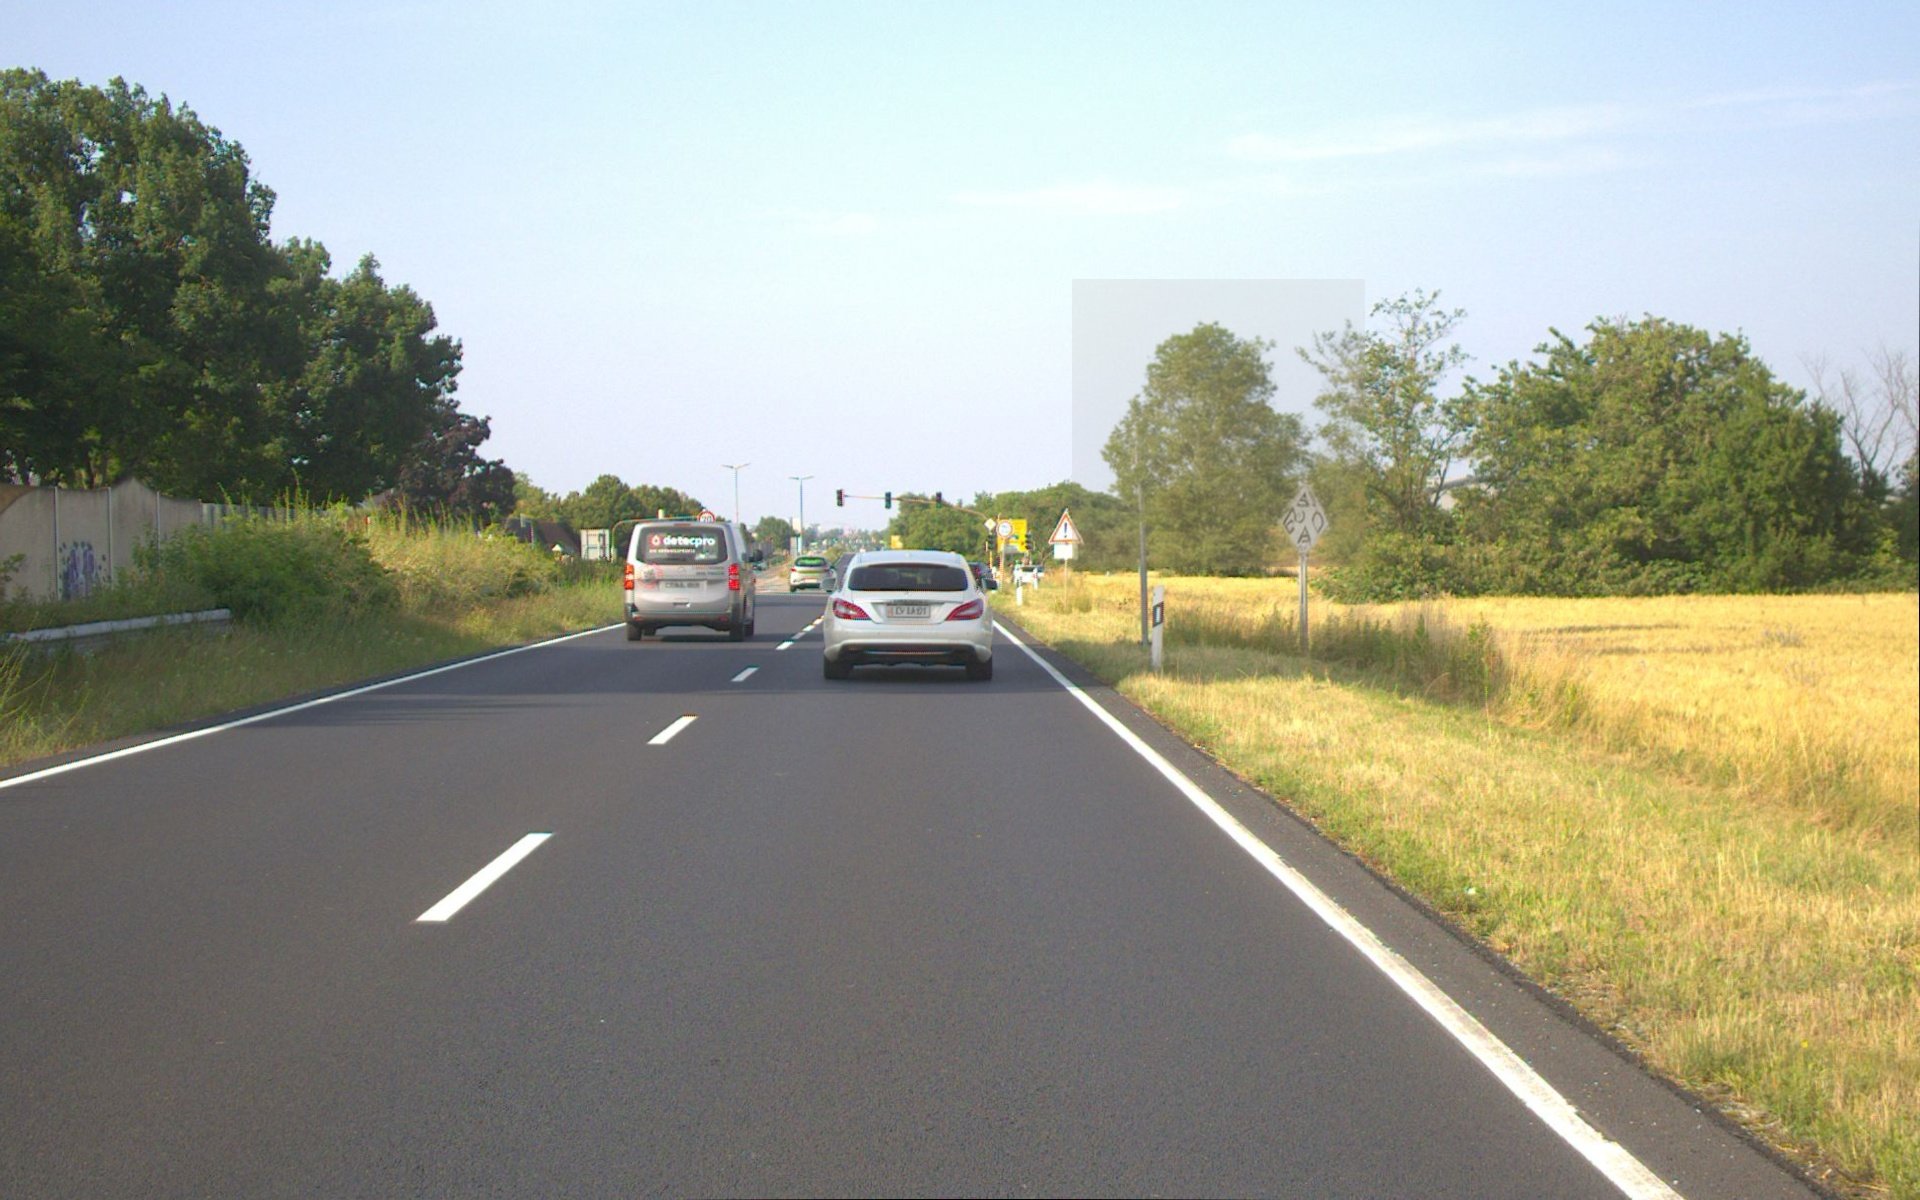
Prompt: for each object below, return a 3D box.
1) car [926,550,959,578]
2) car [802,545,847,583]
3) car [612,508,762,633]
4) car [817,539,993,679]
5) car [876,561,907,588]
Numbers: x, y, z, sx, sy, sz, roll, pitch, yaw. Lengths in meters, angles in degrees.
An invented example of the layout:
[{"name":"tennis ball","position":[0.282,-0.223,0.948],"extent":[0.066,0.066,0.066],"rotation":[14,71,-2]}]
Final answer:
[{"name":"car","position":[-0.992,-1.973,189.720],"extent":[1.754,1.511,4.000],"rotation":[-1,1,-1]},{"name":"car","position":[-5.479,-1.449,139.180],"extent":[1.717,1.487,3.585],"rotation":[1,1,-1]},{"name":"car","position":[-4.322,-0.501,55.065],"extent":[2.025,1.885,4.959],"rotation":[1,1,-1]},{"name":"car","position":[-0.641,0.072,38.836],"extent":[1.894,1.503,4.000],"rotation":[0,1,-1]},{"name":"car","position":[-4.378,-1.655,220.323],"extent":[1.839,1.678,4.000],"rotation":[1,1,1]}]
